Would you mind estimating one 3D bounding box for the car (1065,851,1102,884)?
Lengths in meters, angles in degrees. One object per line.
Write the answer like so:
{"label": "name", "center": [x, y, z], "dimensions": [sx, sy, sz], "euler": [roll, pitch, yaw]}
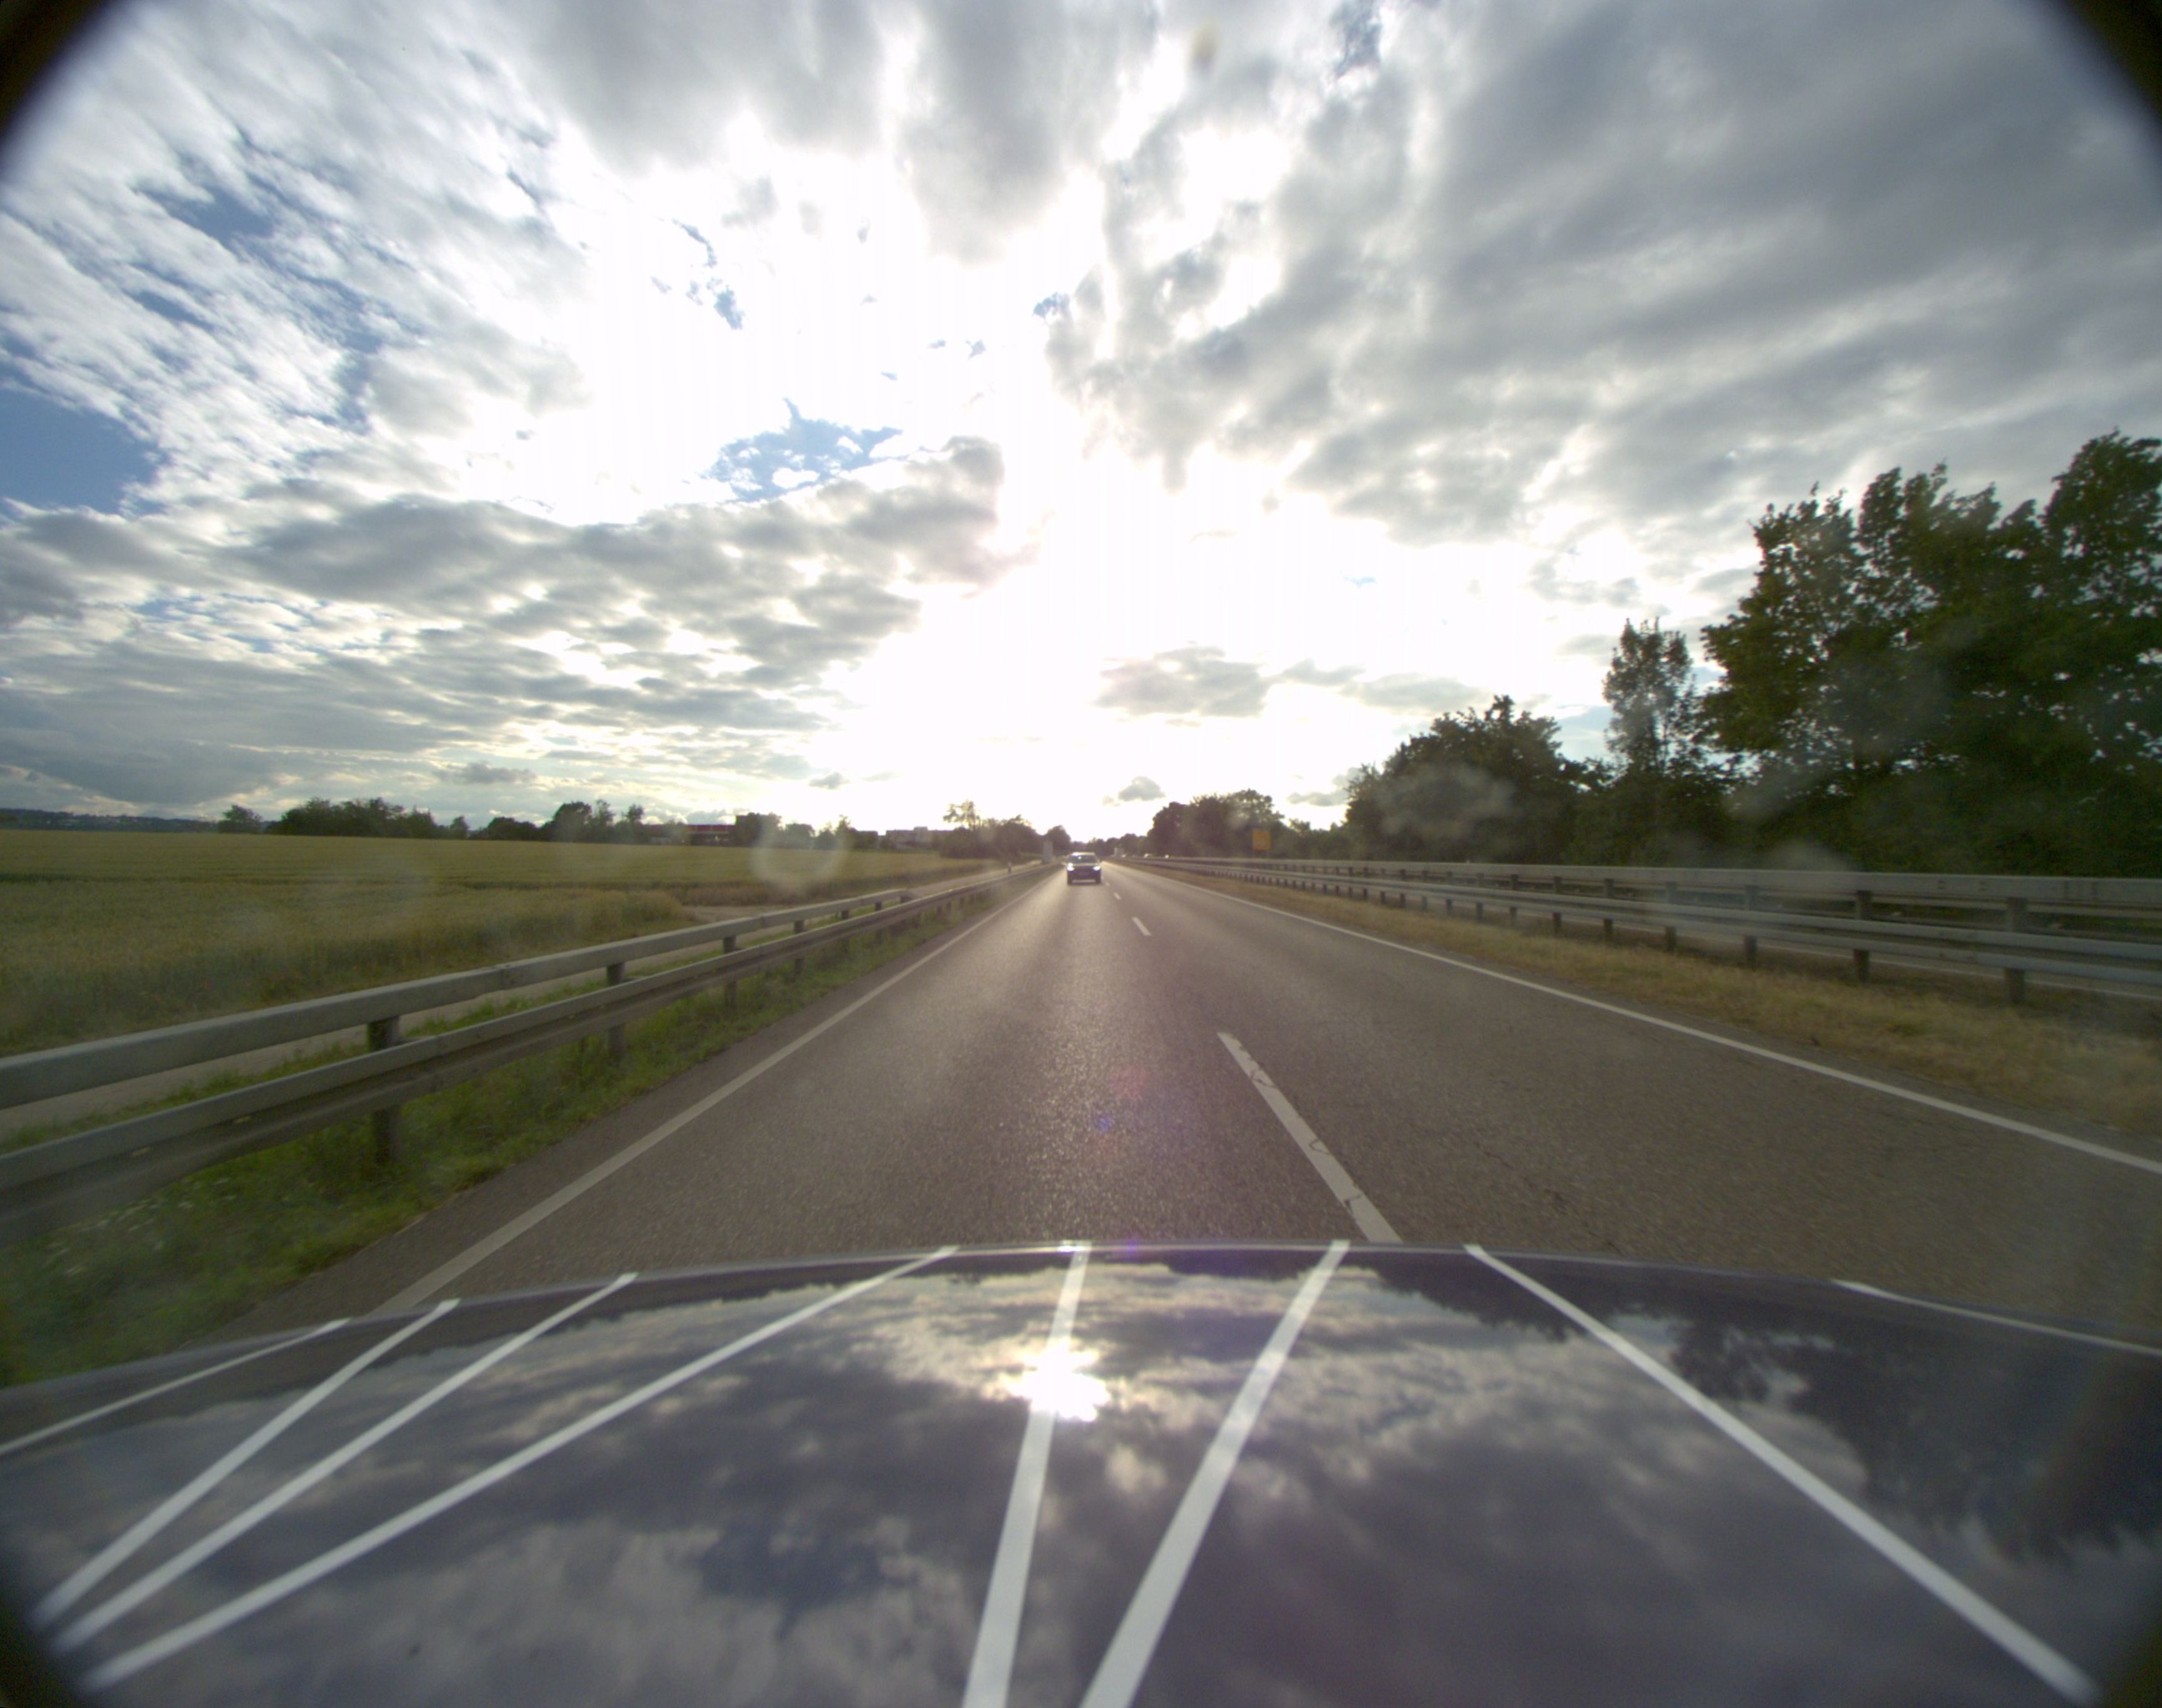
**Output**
{"label": "car", "center": [0.162, 0.687, 42.023], "dimensions": [1.863, 1.636, 4.000], "euler": [-2, 1, 1]}
